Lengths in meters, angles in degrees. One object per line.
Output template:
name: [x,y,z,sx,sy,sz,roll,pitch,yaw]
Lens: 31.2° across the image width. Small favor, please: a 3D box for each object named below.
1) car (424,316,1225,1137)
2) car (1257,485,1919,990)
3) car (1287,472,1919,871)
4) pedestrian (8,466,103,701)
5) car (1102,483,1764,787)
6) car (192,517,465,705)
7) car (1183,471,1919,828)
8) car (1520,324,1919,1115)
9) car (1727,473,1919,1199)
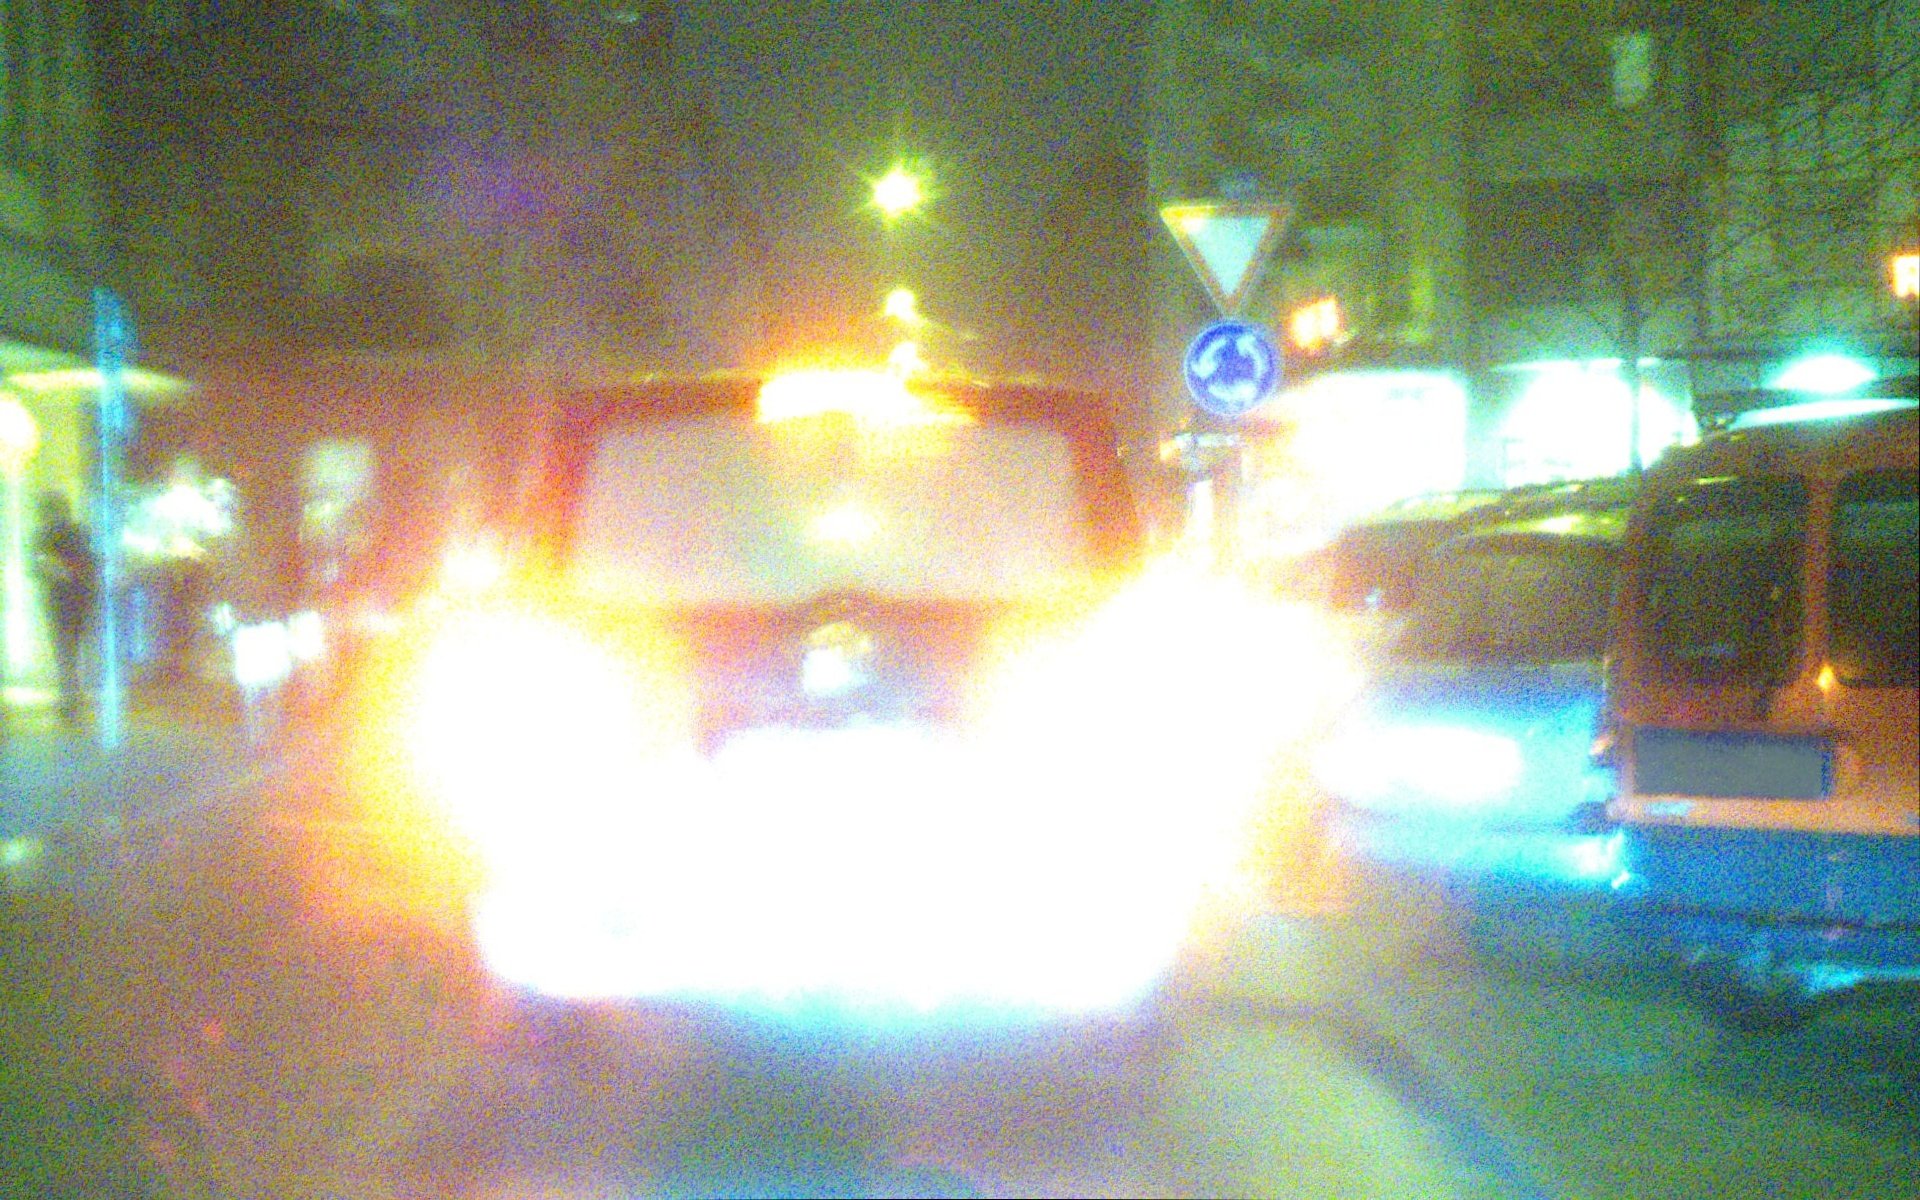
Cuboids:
car: [-0.361,0.304,10.617,1.993,2.043,4.000,0,0,-1]
car: [3.008,0.393,12.838,3.555,1.585,1.605,-4,1,-37]
car: [3.473,0.277,16.601,3.559,1.727,1.689,-1,1,-37]
pedestrian: [-7.372,-0.137,28.037,0.660,1.897,0.539,0,1,-5]
car: [3.038,0.165,21.768,3.988,1.755,1.880,-1,1,-37]
car: [-5.904,0.060,32.583,1.883,1.679,4.000,0,1,-1]
car: [3.351,0.207,18.847,3.988,1.755,1.880,-1,1,-37]
car: [3.516,0.224,10.076,3.555,1.984,1.605,-4,1,-37]
car: [3.795,0.421,7.585,3.988,1.582,1.880,-4,2,-36]
